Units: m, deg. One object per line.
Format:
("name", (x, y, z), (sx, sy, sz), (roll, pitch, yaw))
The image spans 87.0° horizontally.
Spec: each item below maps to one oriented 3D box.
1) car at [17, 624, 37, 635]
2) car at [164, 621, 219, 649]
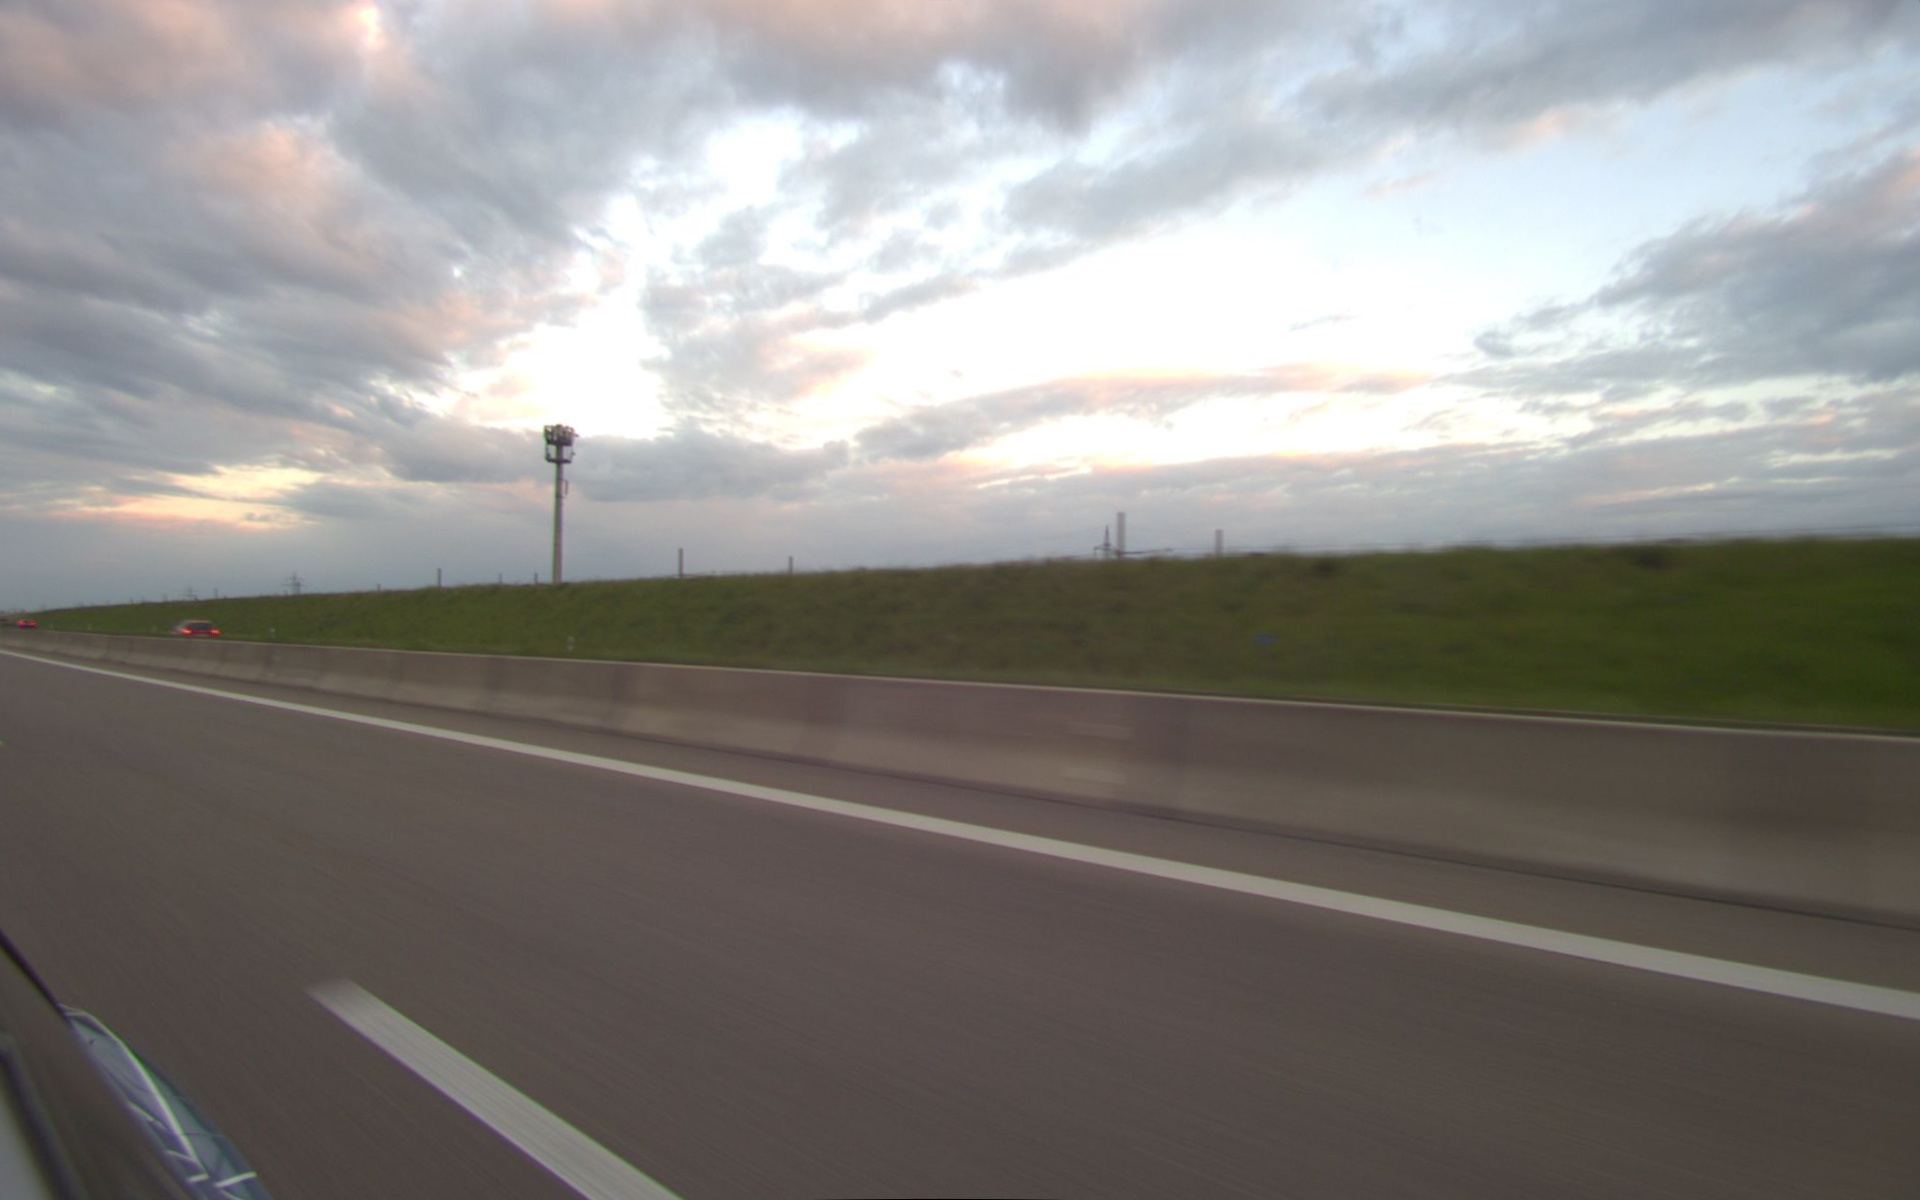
("car", (-141.070, 4.440, 153.008), (4.580, 1.565, 1.842), (-1, -3, 42))
("car", (-45.611, 2.049, 60.034), (4.104, 1.604, 1.833), (-1, -3, 42))
